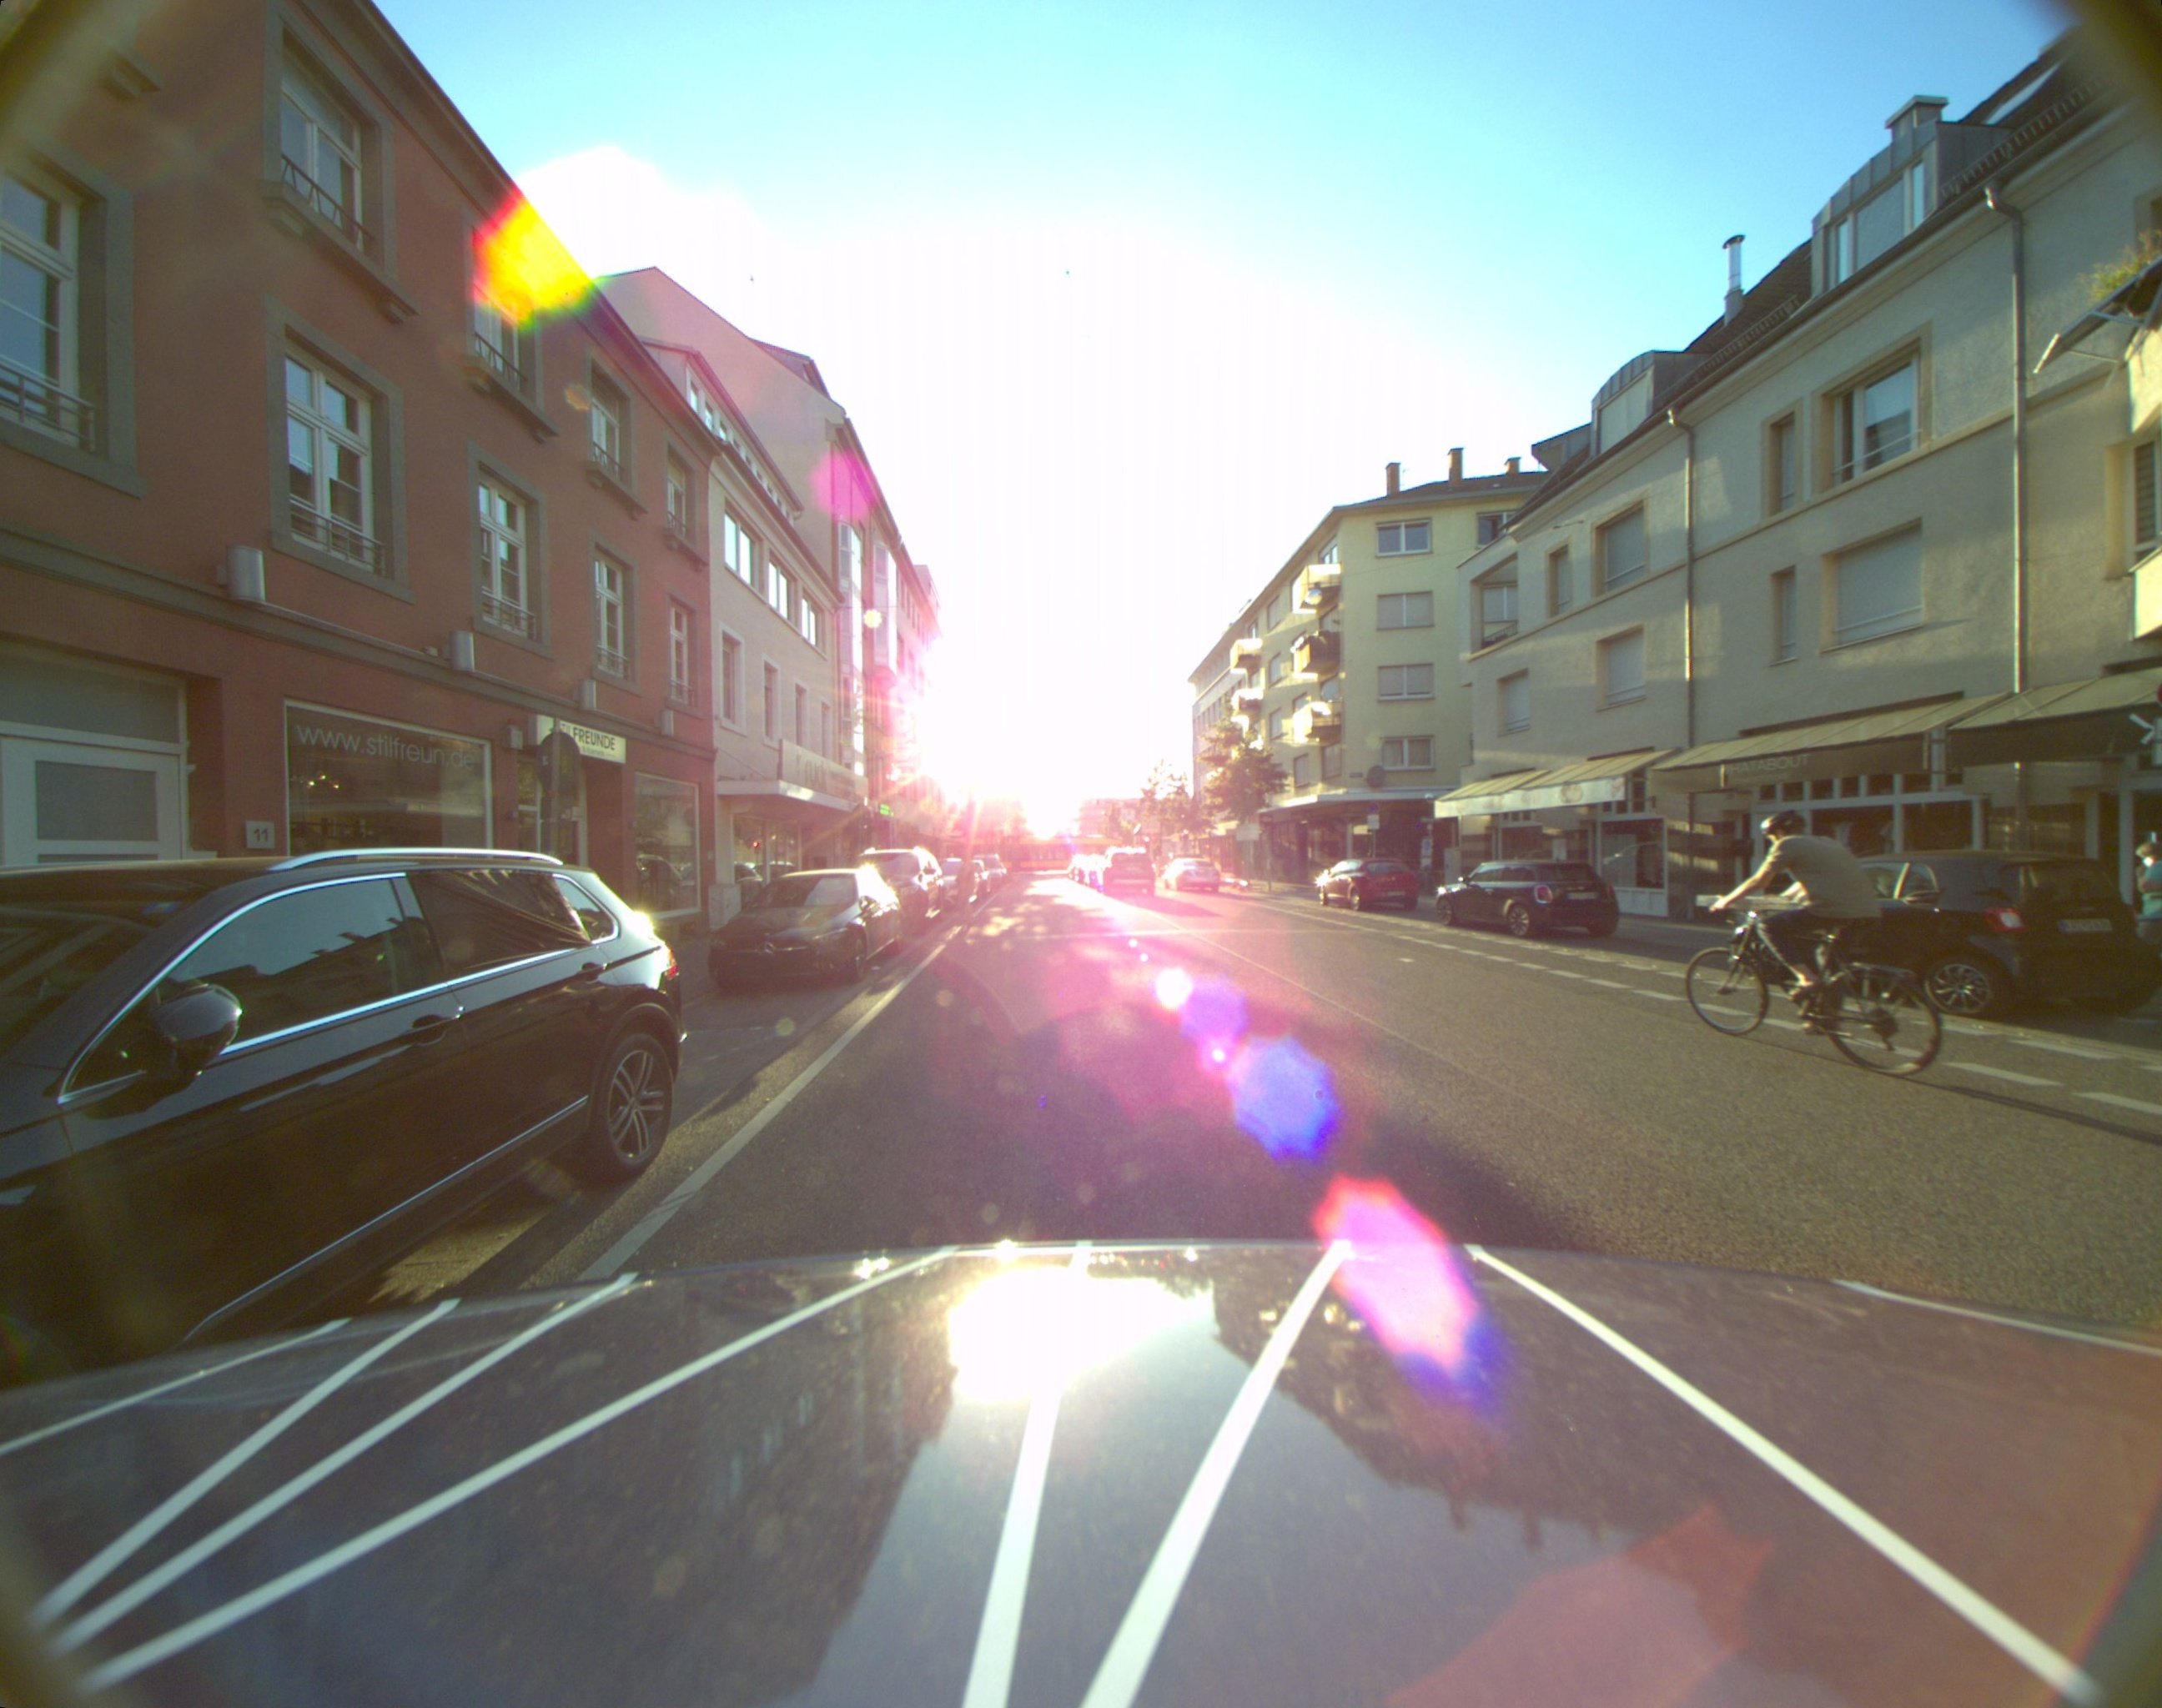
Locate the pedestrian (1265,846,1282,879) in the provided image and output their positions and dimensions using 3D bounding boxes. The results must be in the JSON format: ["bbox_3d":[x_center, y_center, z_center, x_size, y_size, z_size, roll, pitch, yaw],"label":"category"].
[{"bbox_3d":[10.713,0.491,42.249,0.742,1.808,0.813,0,0,-1],"label":"pedestrian"}]

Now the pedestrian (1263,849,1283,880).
[{"bbox_3d":[10.370,0.579,41.045,0.768,1.666,0.744,-1,1,39],"label":"pedestrian"}]

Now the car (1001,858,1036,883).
[{"bbox_3d":[-3.747,0.939,45.508,1.942,1.368,4.180,-2,0,-5],"label":"car"}]

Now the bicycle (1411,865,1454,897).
[{"bbox_3d":[12.239,0.926,26.506,0.491,0.986,2.015,-2,1,-2],"label":"bicycle"}]

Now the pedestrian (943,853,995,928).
[{"bbox_3d":[-2.605,0.828,17.623,0.908,1.666,0.991,-1,0,-26],"label":"pedestrian"}]

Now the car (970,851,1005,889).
[{"bbox_3d":[-4.809,0.795,39.362,1.659,1.768,4.009,-2,0,-6],"label":"car"}]

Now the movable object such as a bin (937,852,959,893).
[{"bbox_3d":[-6.005,0.823,34.404,0.837,1.764,1.352,-2,1,-7],"label":"movable object such as a bin"}]

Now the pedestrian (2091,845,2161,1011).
[{"bbox_3d":[11.141,0.738,7.636,0.719,1.632,0.951,-2,1,-6],"label":"pedestrian"}]

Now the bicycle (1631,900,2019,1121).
[{"bbox_3d":[5.286,1.012,5.652,0.783,1.197,2.019,0,1,-5],"label":"bicycle"}]

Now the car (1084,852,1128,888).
[{"bbox_3d":[1.110,0.700,35.577,1.728,1.540,4.463,0,1,-3],"label":"car"}]

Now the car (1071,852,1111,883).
[{"bbox_3d":[0.495,0.701,42.181,1.951,1.635,4.613,0,1,-3],"label":"car"}]

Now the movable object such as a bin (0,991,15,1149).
[{"bbox_3d":[-6.699,1.296,4.312,0.554,0.932,0.485,-1,1,-5],"label":"movable object such as a bin"}]

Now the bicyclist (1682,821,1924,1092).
[{"bbox_3d":[5.267,0.682,5.623,0.783,1.818,1.006,0,1,-5],"label":"bicyclist"}]

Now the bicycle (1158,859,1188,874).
[{"bbox_3d":[6.543,0.883,54.028,2.015,0.986,0.491,-2,1,-7],"label":"bicycle"}]

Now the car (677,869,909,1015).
[{"bbox_3d":[-3.778,1.046,10.852,1.767,1.475,4.305,-2,1,-2],"label":"car"}]

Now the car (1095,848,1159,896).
[{"bbox_3d":[1.637,0.603,28.637,1.946,1.635,4.737,0,1,-3],"label":"car"}]

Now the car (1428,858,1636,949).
[{"bbox_3d":[8.626,0.861,14.936,1.716,1.445,3.723,-2,1,-3],"label":"car"}]

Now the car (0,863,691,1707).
[{"bbox_3d":[-3.086,0.937,2.200,1.817,1.658,4.204,-2,1,-2],"label":"car"}]

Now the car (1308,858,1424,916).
[{"bbox_3d":[8.104,0.869,21.986,1.665,1.394,3.882,-2,1,-4],"label":"car"}]

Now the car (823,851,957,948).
[{"bbox_3d":[-4.061,0.854,17.061,1.888,1.744,5.056,-2,1,-3],"label":"car"}]

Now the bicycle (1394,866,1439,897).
[{"bbox_3d":[11.685,0.949,26.535,0.491,0.986,2.015,-2,1,-5],"label":"bicycle"}]

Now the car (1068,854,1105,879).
[{"bbox_3d":[0.314,0.795,48.909,1.964,1.538,4.508,-1,-1,-5],"label":"car"}]

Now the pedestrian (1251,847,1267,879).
[{"bbox_3d":[10.202,0.507,43.559,0.769,1.836,0.743,-1,-1,7],"label":"pedestrian"}]

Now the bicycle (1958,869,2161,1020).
[{"bbox_3d":[10.545,0.886,7.645,0.612,1.367,2.357,-2,1,-4],"label":"bicycle"}]

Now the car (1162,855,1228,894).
[{"bbox_3d":[4.944,0.836,33.660,1.999,1.503,4.507,2,1,-3],"label":"car"}]

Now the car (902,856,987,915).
[{"bbox_3d":[-4.208,0.908,24.217,1.816,1.518,4.992,-2,1,-1],"label":"car"}]

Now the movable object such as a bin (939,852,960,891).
[{"bbox_3d":[-6.161,0.811,35.696,0.837,1.764,1.205,-2,1,-7],"label":"movable object such as a bin"}]

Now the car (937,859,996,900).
[{"bbox_3d":[-4.424,0.949,30.046,1.757,1.412,4.508,-2,0,-2],"label":"car"}]

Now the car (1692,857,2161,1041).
[{"bbox_3d":[8.825,0.822,8.173,1.797,1.526,3.187,-1,0,-6],"label":"car"}]
